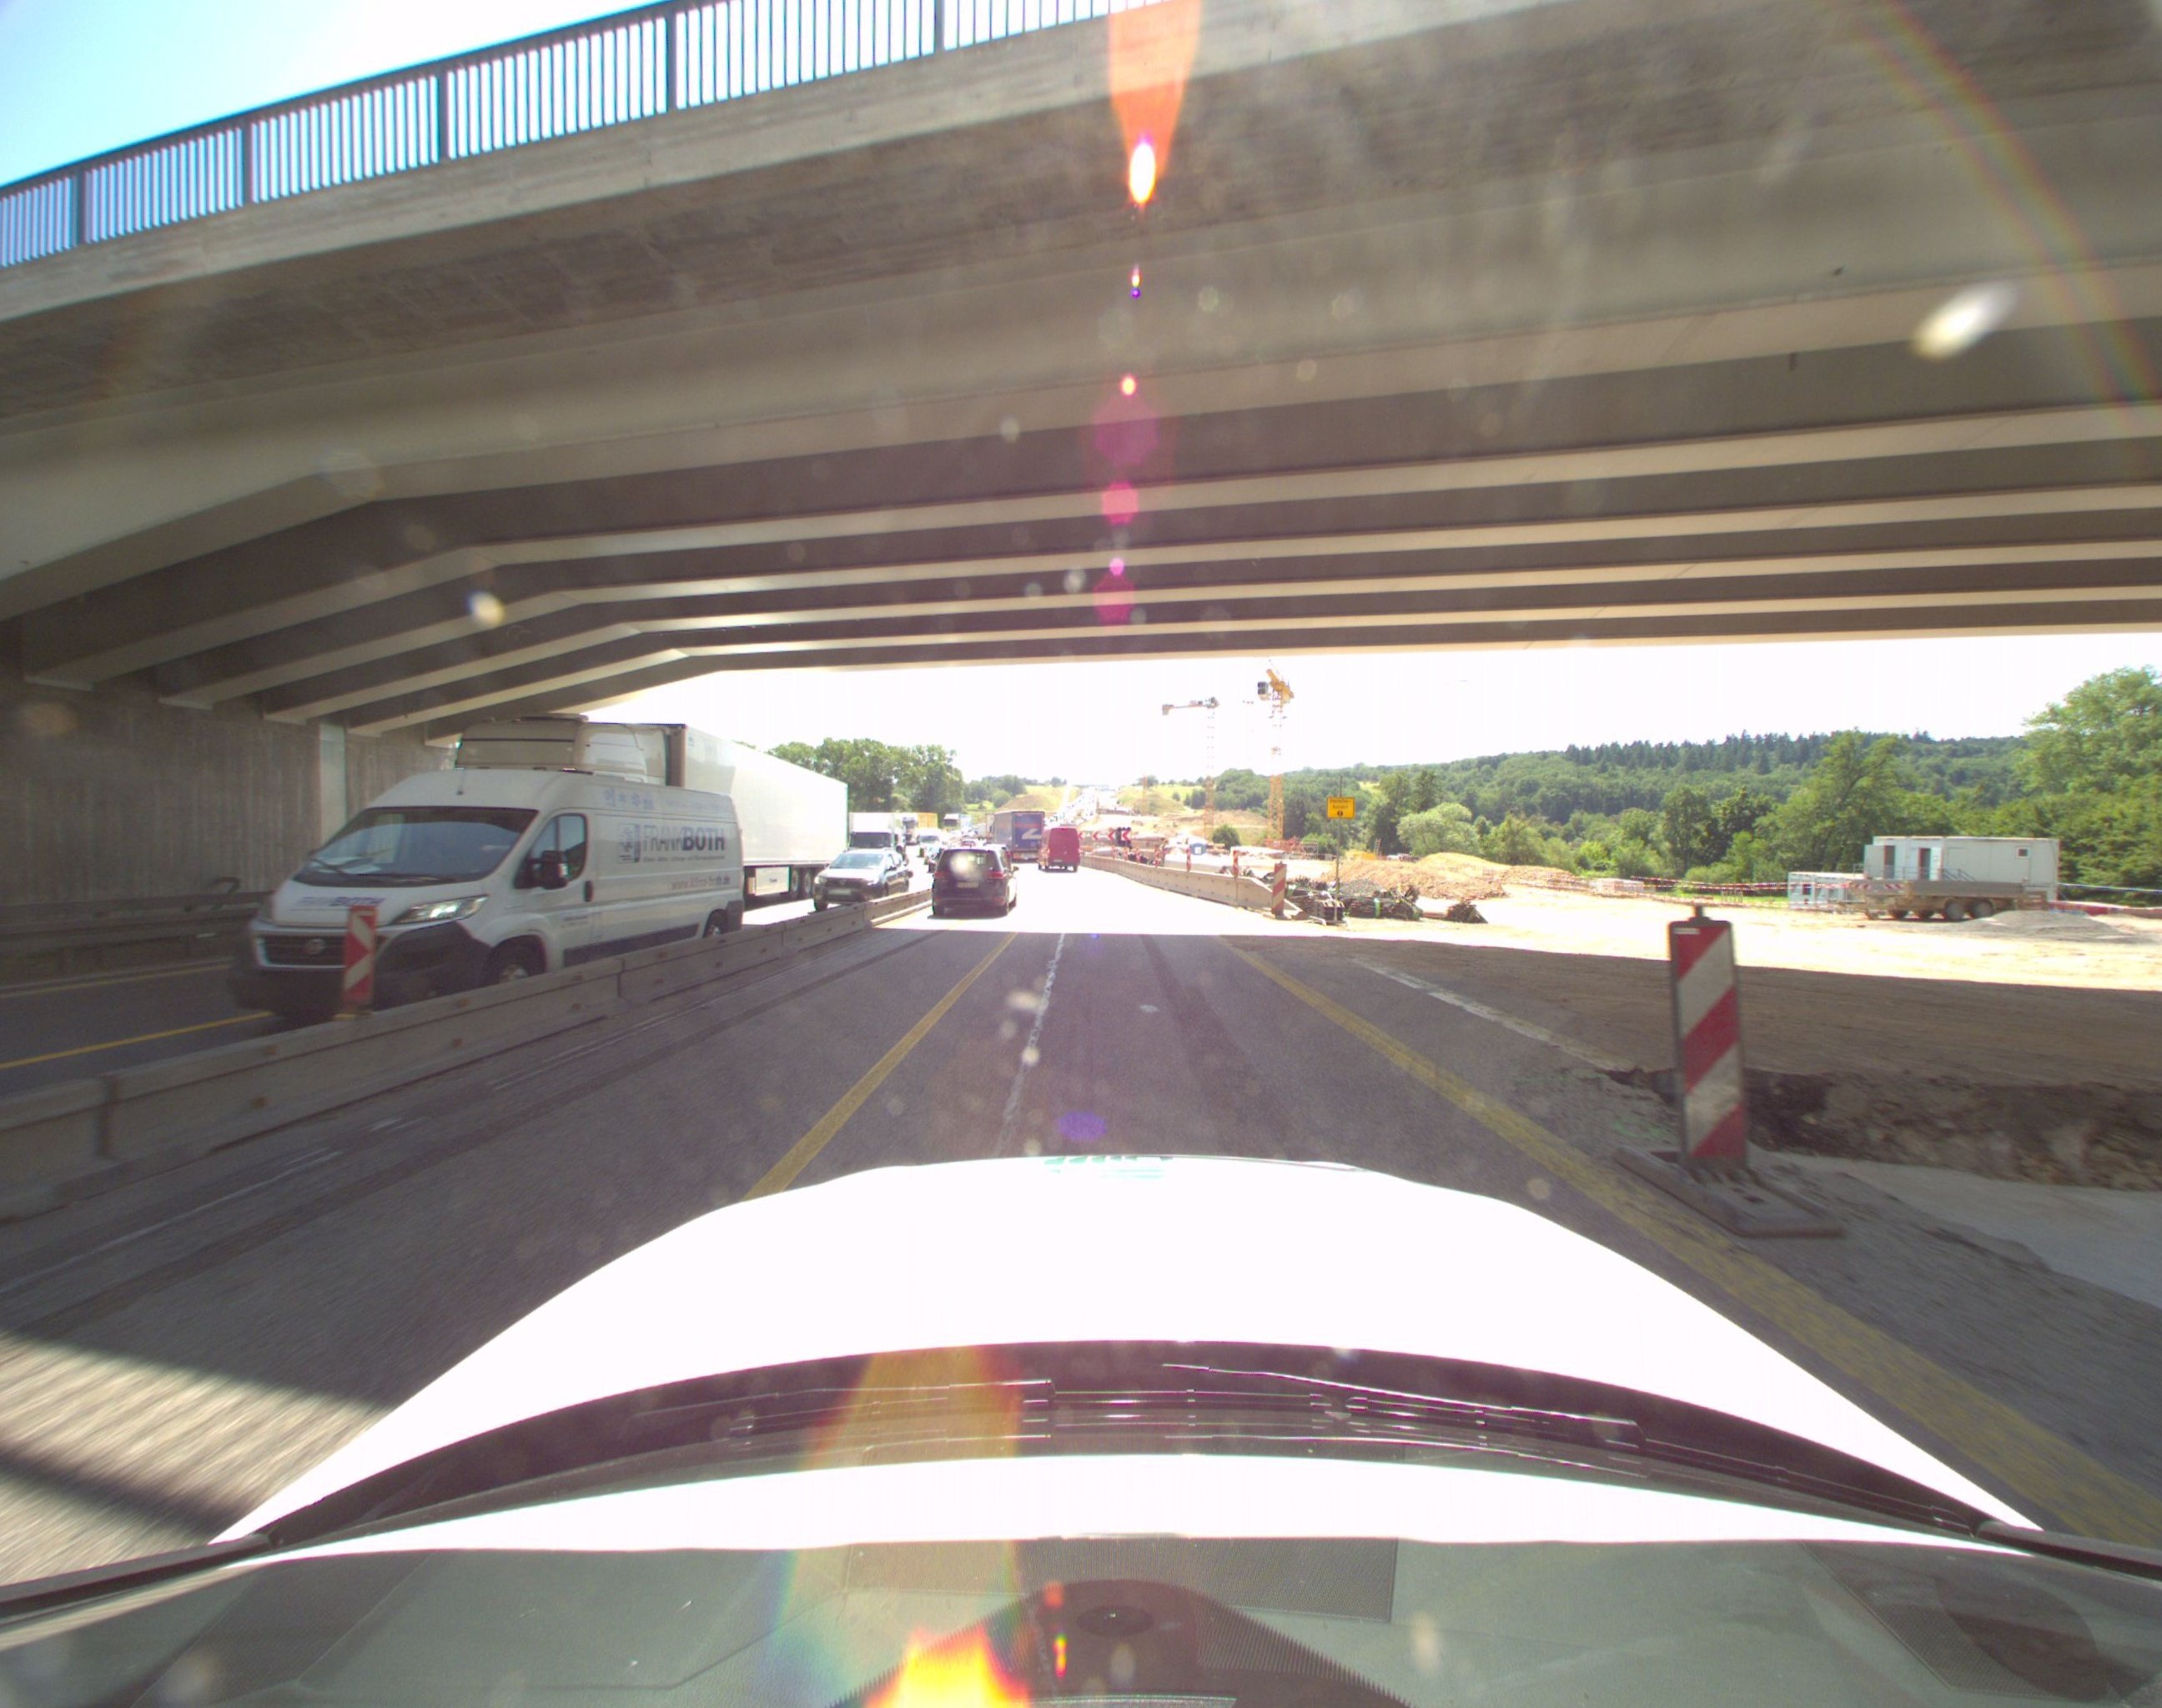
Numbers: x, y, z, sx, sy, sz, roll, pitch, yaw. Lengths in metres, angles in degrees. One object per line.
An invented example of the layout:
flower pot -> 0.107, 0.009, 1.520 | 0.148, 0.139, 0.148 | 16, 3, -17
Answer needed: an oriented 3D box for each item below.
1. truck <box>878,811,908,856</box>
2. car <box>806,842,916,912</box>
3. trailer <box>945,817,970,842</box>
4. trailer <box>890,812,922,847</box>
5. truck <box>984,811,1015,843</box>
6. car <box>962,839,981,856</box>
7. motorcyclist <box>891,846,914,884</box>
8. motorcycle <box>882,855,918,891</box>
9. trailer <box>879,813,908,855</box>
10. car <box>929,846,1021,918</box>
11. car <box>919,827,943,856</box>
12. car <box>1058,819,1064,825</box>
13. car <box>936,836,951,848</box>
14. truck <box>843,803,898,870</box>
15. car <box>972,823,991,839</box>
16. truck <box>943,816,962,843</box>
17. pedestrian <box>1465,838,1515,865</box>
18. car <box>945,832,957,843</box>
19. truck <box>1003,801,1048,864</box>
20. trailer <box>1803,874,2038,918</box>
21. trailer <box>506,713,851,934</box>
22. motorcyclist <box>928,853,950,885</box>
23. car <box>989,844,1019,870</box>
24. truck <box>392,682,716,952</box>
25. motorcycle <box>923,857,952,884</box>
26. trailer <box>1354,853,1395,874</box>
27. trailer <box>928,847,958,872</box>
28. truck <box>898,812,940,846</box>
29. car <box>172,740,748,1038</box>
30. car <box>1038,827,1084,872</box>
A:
truck -> -16.948, -1.817, 73.622 | 2.535, 3.821, 4.930 | 1, 0, -12
car -> -5.666, 0.524, 21.451 | 1.741, 1.670, 4.079 | 0, 1, 0
trailer -> -21.833, -4.314, 144.607 | 2.640, 4.292, 13.304 | 1, 1, -1
trailer -> -21.803, -3.048, 101.700 | 2.856, 4.229, 5.219 | 0, 1, 0
truck -> -10.308, -3.424, 103.592 | 3.171, 3.989, 6.743 | 0, 2, 1
car -> -10.749, -0.668, 79.789 | 1.833, 1.635, 4.094 | 0, 1, -8
motorcyclist -> -6.721, 0.420, 30.736 | 0.716, 1.416, 0.742 | 0, -2, -1
motorcycle -> -6.738, 0.684, 30.493 | 0.700, 1.279, 2.735 | 0, 0, 0
trailer -> -18.222, -1.875, 79.696 | 2.527, 3.789, 10.203 | 1, 0, -12
car -> -2.557, 0.613, 20.627 | 1.728, 1.635, 4.389 | 0, 1, 0
car -> -13.942, -1.093, 75.529 | 2.072, 2.503, 6.458 | 0, 0, -11
car -> -6.139, -9.797, 251.609 | 1.612, 1.699, 3.890 | 1, 2, 0
car -> -17.535, -1.578, 104.052 | 1.675, 1.361, 4.493 | 1, 2, -7
truck -> -12.136, -0.965, 47.487 | 2.820, 3.575, 8.461 | 0, 0, -13
car -> -15.486, -3.558, 126.581 | 2.257, 2.354, 5.160 | 0, 2, 0
truck -> -21.649, -4.138, 137.776 | 2.619, 4.269, 4.727 | 1, 1, -3
pedestrian -> 32.406, -0.187, 64.630 | 1.987, 2.014, 3.999 | 0, -2, 0
car -> -18.908, -2.464, 118.387 | 1.637, 1.485, 3.987 | 0, 3, -10
truck -> -4.611, -1.795, 66.656 | 2.945, 4.944, 6.718 | 0, 2, -11
trailer -> 24.248, 1.189, 23.669 | 4.697, 1.220, 2.056 | 0, -2, 1
trailer -> -9.529, -0.602, 22.381 | 2.870, 4.039, 14.343 | 2, 0, -3
motorcyclist -> -6.287, 0.658, 36.074 | 0.808, 1.416, 0.742 | 0, -2, -1
car -> -5.116, 0.170, 53.591 | 1.832, 1.635, 4.379 | 0, 1, -7
truck -> -9.139, -0.568, 14.911 | 2.868, 4.051, 4.878 | 1, 0, -4
motorcycle -> -6.269, 0.702, 35.680 | 0.830, 1.150, 2.789 | 0, 0, -2
trailer -> 22.004, 0.692, 61.157 | 1.619, 1.486, 3.823 | 1, 0, -2
trailer -> -8.213, 0.319, 48.594 | 1.664, 1.431, 3.988 | 0, 0, -9
truck -> -21.922, -3.408, 110.951 | 2.798, 4.341, 15.372 | 1, 2, -1
car -> -6.097, 0.290, 9.414 | 1.974, 2.330, 6.057 | 0, 0, 0
car -> -1.311, -0.303, 49.909 | 2.149, 2.610, 5.423 | 0, 1, -9
